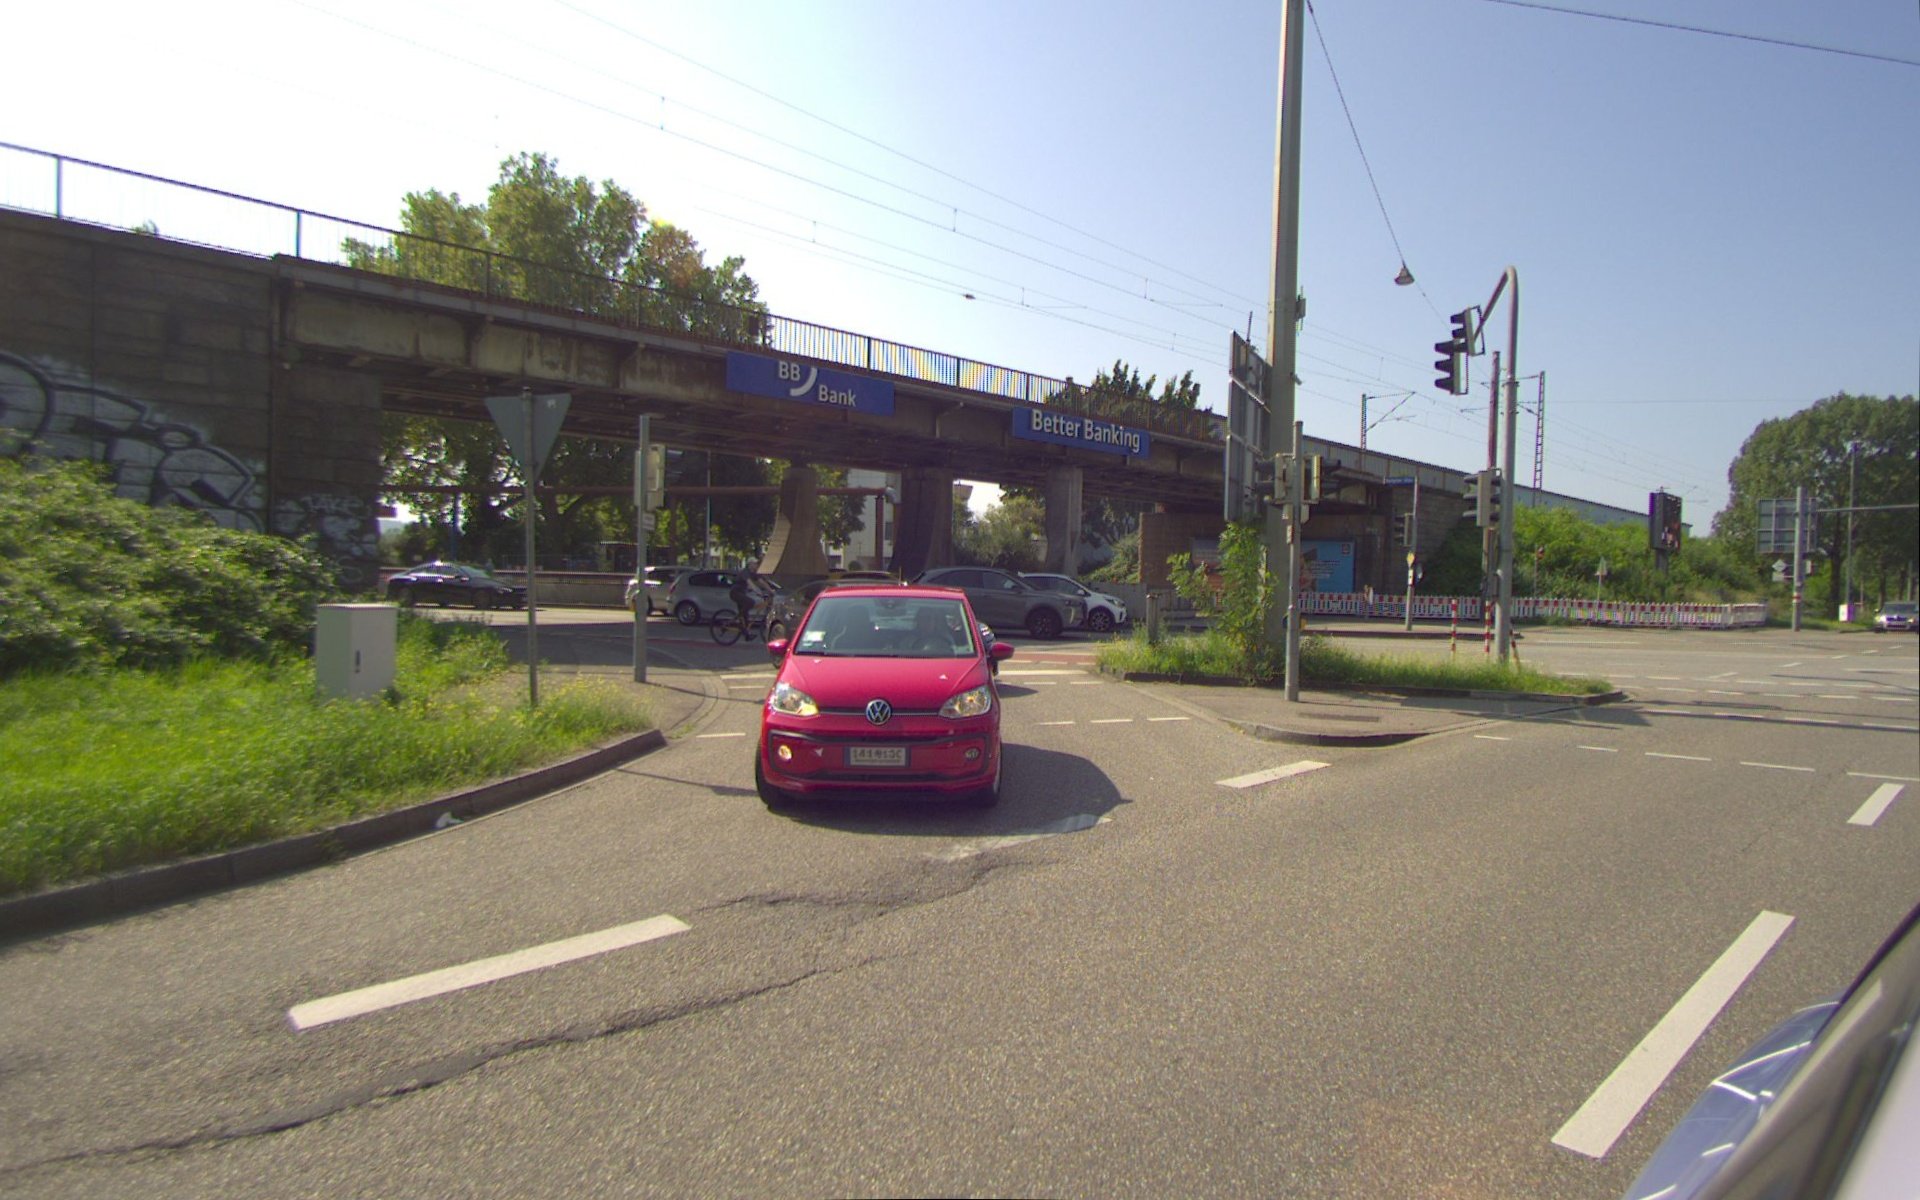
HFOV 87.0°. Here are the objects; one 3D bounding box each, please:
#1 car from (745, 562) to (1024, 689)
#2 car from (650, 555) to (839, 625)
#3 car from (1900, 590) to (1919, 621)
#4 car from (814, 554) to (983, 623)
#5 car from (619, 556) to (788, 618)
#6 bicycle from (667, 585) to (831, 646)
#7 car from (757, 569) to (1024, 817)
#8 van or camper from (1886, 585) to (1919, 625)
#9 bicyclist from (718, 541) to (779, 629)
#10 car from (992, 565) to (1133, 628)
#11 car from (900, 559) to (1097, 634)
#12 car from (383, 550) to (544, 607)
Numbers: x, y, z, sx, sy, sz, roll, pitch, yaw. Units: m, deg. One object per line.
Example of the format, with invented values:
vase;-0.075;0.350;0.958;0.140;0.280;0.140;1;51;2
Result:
car;-1.326;0.219;15.115;1.962;1.480;4.889;-2;4;-35
car;-5.451;-0.296;25.873;4.277;1.540;1.995;2;3;10
car;51.026;0.285;53.281;3.933;1.571;1.995;0;0;-44
car;-1.648;-0.317;28.010;4.278;1.592;1.994;4;1;10
car;-7.378;-0.380;29.356;4.278;1.488;1.994;4;1;10
bicycle;-4.130;0.275;19.957;2.928;1.062;1.232;2;1;8
car;-0.539;0.518;7.897;1.611;1.485;3.557;0;1;-4
van or camper;46.325;0.283;48.939;4.101;1.799;1.849;3;-2;-41
bicyclist;-4.151;-0.296;19.920;0.954;1.679;0.711;2;1;8
car;2.771;-0.138;27.156;3.636;1.557;1.722;1;2;10
car;0.946;-0.132;24.196;4.411;1.637;1.899;1;2;16
car;-15.060;-0.685;30.792;4.119;1.501;1.853;2;3;10
